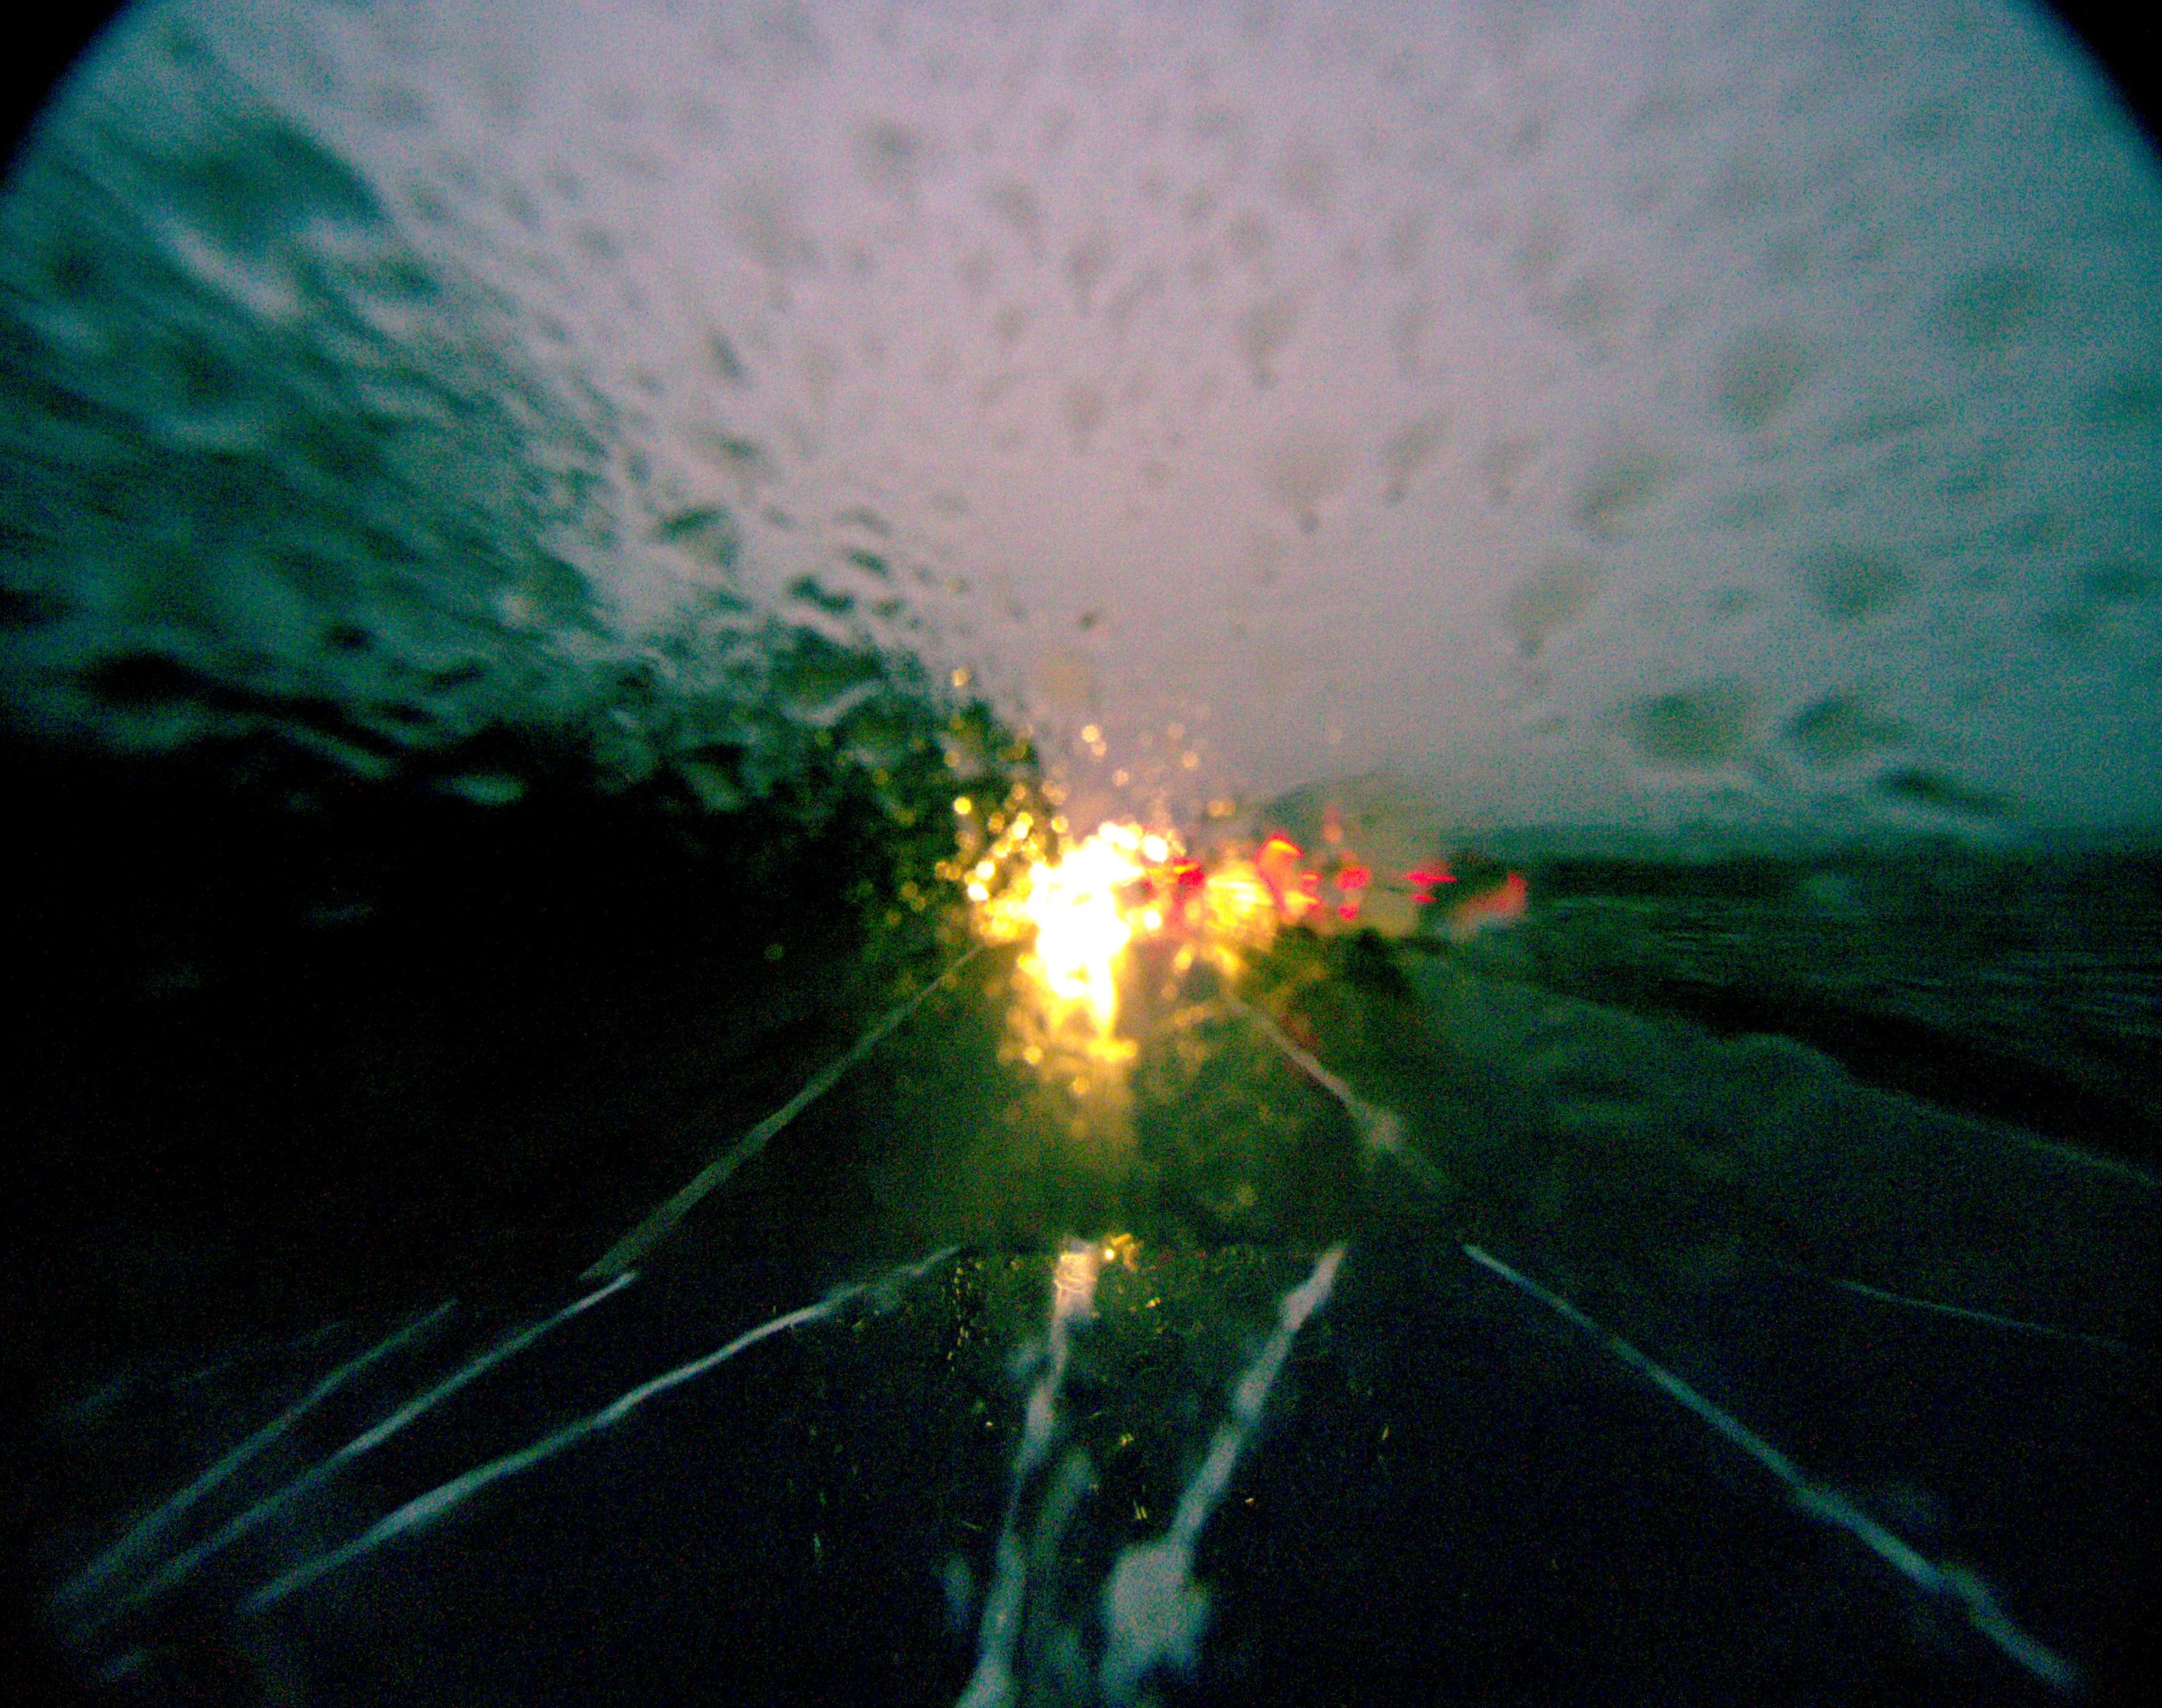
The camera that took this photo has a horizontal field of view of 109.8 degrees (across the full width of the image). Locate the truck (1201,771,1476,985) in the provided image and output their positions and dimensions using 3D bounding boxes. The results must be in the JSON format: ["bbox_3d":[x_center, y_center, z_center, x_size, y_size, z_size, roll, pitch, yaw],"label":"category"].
[{"bbox_3d":[3.787,0.287,13.051,2.275,2.619,7.034,2,0,0],"label":"truck"}]

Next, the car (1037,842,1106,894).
[{"bbox_3d":[-0.301,0.554,33.421,2.704,1.974,5.804,-3,1,1],"label":"car"}]

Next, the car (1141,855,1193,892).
[{"bbox_3d":[3.636,0.804,32.835,1.732,1.405,4.022,2,0,0],"label":"car"}]

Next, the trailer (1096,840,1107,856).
[{"bbox_3d":[5.505,-1.568,208.438,2.708,4.056,12.380,-1,0,0],"label":"trailer"}]
